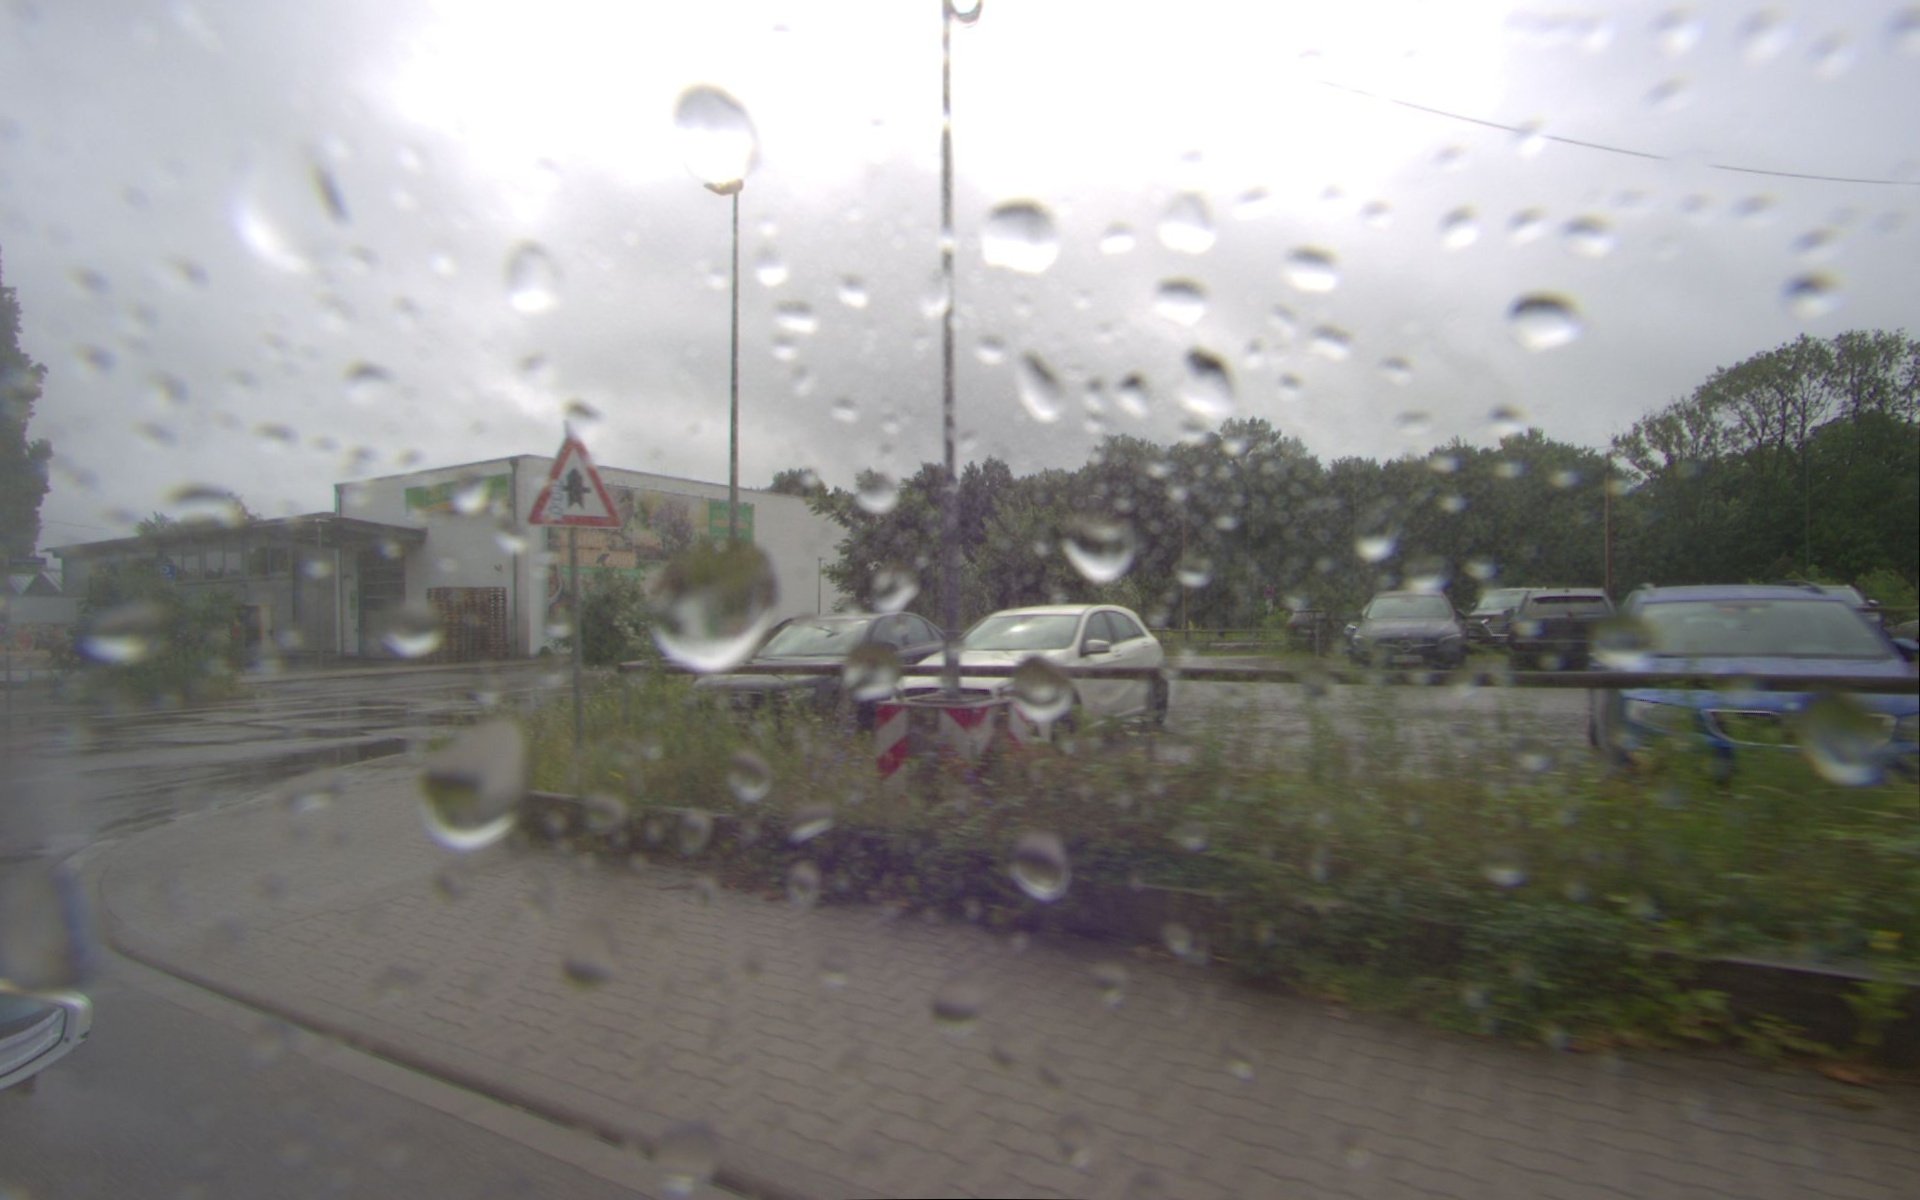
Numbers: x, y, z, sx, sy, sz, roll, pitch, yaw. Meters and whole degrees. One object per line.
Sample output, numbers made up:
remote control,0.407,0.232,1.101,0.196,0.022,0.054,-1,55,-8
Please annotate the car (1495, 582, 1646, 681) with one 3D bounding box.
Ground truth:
car,10.624,0.548,17.430,1.973,1.504,3.979,-3,-2,33

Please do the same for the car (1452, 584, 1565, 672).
car,12.526,0.580,22.903,2.013,1.694,4.434,-3,0,29

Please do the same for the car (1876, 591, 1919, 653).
car,26.815,0.575,27.067,1.760,1.658,3.989,-1,0,23

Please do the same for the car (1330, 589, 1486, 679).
car,8.184,0.611,18.088,1.973,1.427,3.979,-3,-2,33

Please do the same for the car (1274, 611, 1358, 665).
car,12.592,1.264,35.300,1.865,1.743,3.976,0,0,34

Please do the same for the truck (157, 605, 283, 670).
truck,-33.215,1.640,44.857,7.317,2.695,2.293,-1,1,35

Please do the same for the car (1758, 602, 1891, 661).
car,24.372,0.847,28.393,1.685,1.513,3.989,-1,0,23

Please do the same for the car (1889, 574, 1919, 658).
car,19.833,0.306,19.218,2.015,1.626,4.431,-3,0,31

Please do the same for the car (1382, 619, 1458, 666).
car,15.647,1.397,33.943,1.863,1.415,3.979,0,0,32

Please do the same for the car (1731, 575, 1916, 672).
car,16.963,0.406,19.927,2.015,1.626,4.431,-3,0,31

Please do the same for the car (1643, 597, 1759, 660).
car,22.219,0.814,30.199,1.866,1.750,3.989,-1,0,23

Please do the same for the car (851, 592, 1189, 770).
car,0.865,0.776,10.885,1.864,1.528,4.174,-3,-2,32

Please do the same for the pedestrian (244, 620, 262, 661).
pedestrian,-30.084,1.727,42.617,0.427,1.741,0.453,-1,2,35

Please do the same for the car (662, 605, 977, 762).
car,-1.481,0.891,12.345,1.860,1.419,4.216,-3,1,24

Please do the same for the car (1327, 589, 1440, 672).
car,10.387,0.675,24.353,2.013,1.694,4.434,-3,0,29

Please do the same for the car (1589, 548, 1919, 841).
car,5.730,0.557,7.384,1.794,1.536,4.287,-3,-2,32

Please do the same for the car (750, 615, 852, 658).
car,-7.115,1.641,44.811,4.316,1.847,1.782,-2,0,29

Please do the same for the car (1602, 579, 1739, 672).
car,15.231,0.480,21.698,2.015,1.694,4.431,-3,1,31

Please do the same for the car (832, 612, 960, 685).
car,-1.797,1.346,29.190,1.804,1.947,3.981,-1,-1,31
